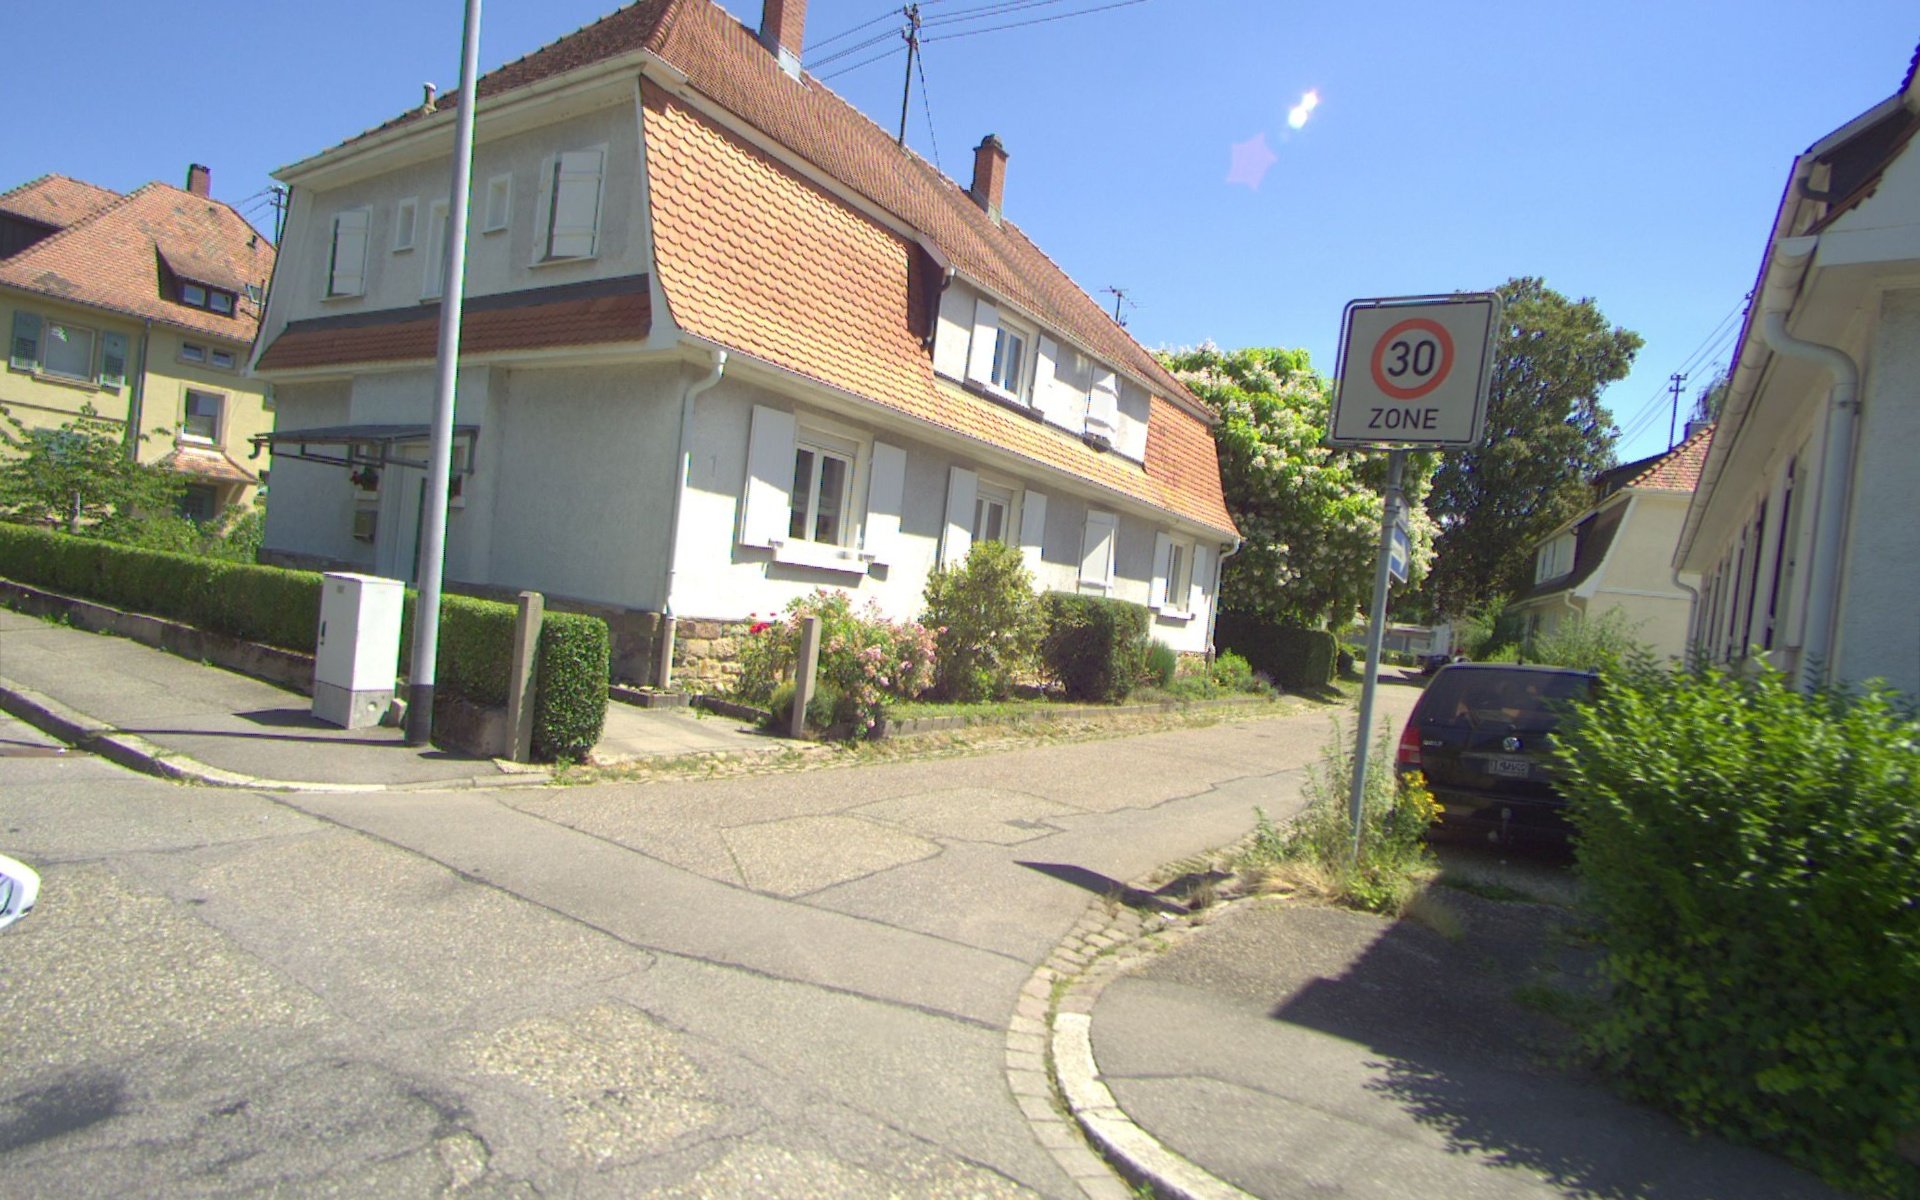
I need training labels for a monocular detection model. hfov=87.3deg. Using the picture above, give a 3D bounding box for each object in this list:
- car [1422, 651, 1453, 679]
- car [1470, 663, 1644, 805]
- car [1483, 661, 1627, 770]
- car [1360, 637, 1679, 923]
[{"bbox_3d":[30.324,4.118,63.986,1.500,1.556,3.500,6,1,23],"label":"car"},{"bbox_3d":[7.922,1.670,13.637,1.664,1.430,3.746,6,0,27],"label":"car"},{"bbox_3d":[10.285,1.946,17.265,1.667,1.469,3.741,6,-1,36],"label":"car"},{"bbox_3d":[4.591,1.259,8.178,1.665,1.554,4.000,6,-1,32],"label":"car"}]
